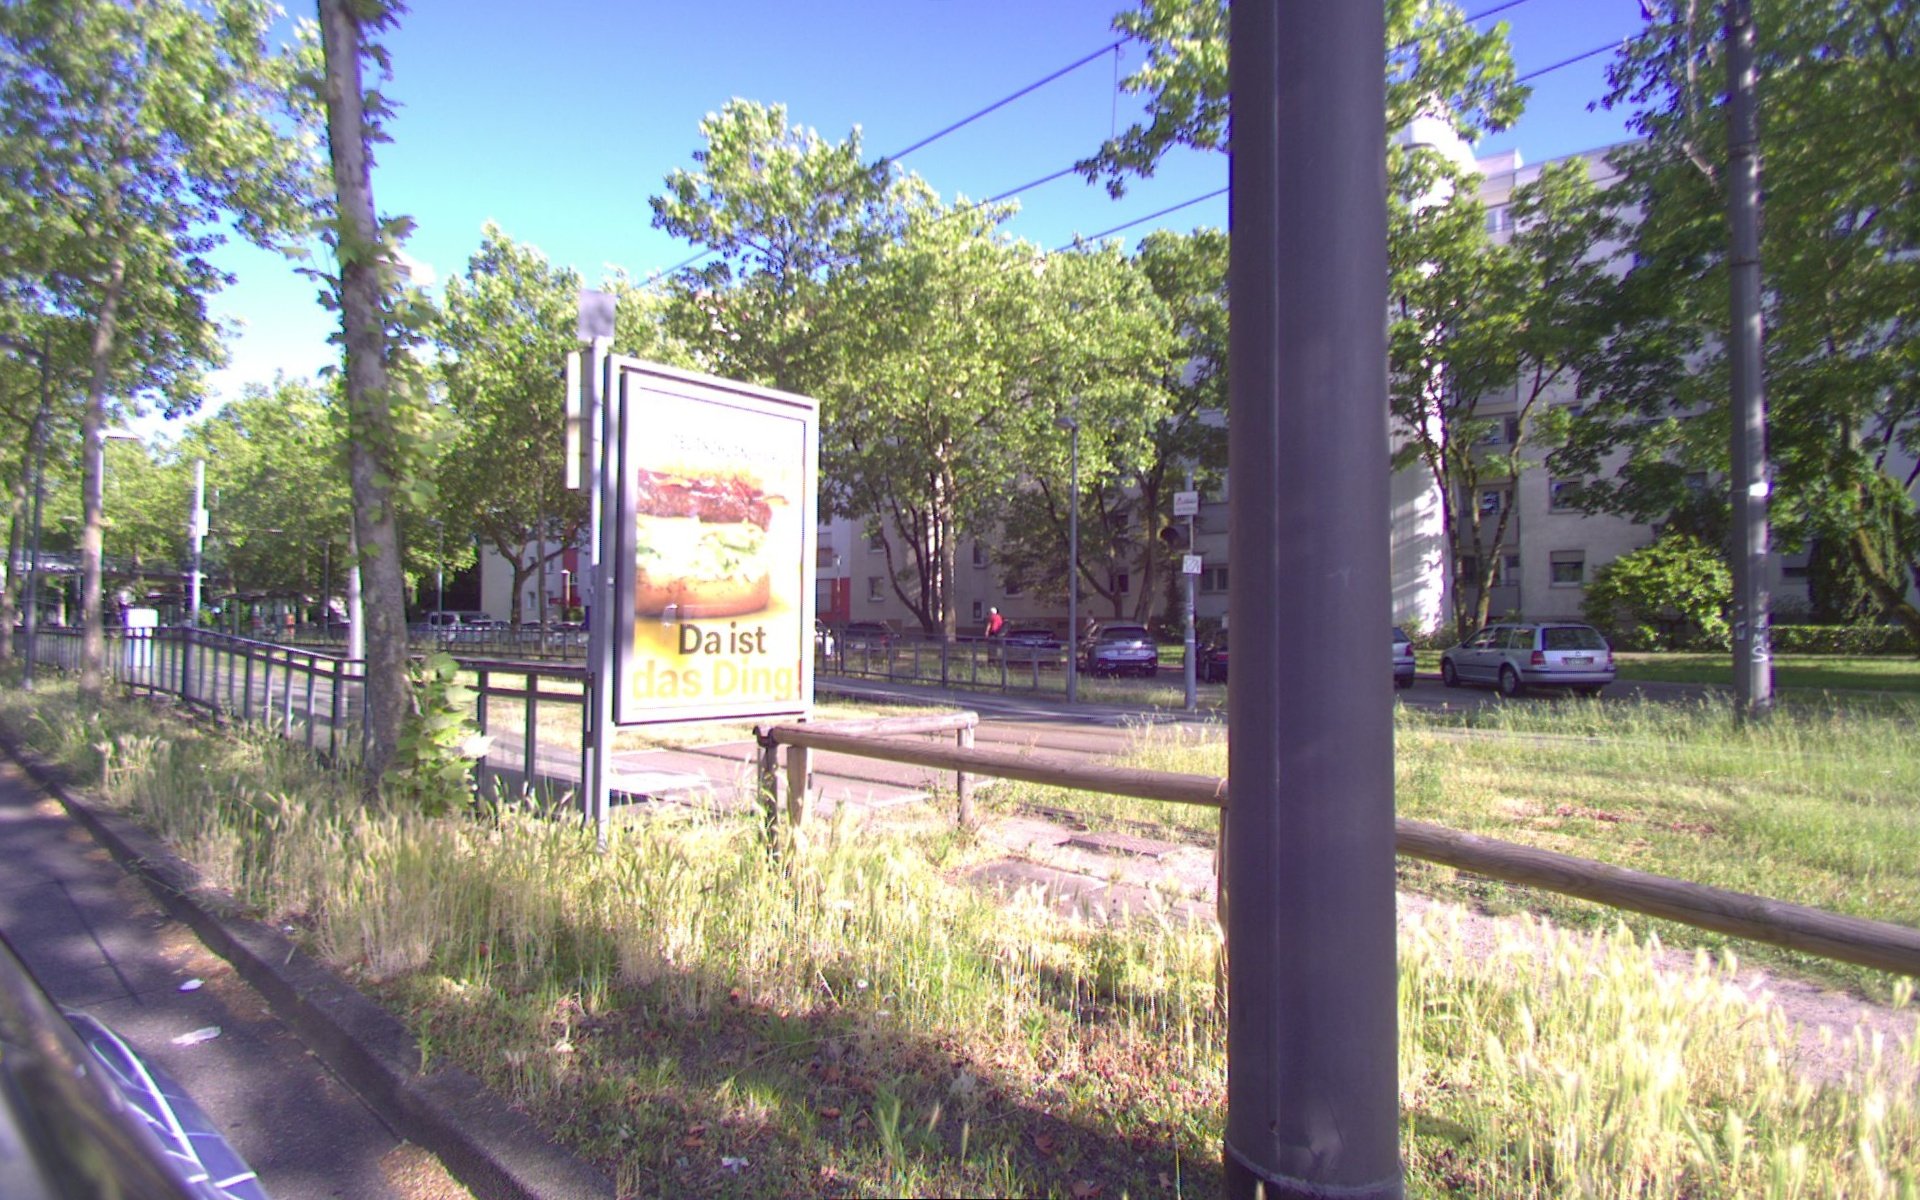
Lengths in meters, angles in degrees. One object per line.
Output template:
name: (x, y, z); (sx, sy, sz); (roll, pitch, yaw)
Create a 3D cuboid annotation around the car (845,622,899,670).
car: (-2.965, 1.524, 34.648); (1.633, 1.522, 3.805); (-1, -1, -2)

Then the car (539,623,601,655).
car: (-19.034, 1.894, 49.538); (1.633, 1.452, 3.805); (-1, -1, -2)

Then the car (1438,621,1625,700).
car: (11.485, 1.159, 20.664); (1.559, 1.413, 3.906); (-1, -1, 0)

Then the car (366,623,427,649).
car: (-33.684, 2.110, 60.600); (1.633, 1.452, 3.805); (-1, -1, -2)

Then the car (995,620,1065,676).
car: (1.995, 1.352, 29.666); (1.633, 1.522, 3.805); (-1, -1, -2)

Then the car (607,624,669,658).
car: (-14.052, 1.763, 44.335); (1.633, 1.366, 3.805); (-1, -1, -2)

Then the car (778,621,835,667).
car: (-5.555, 1.567, 37.017); (1.633, 1.522, 3.805); (-1, -1, -2)

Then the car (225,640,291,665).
car: (-45.526, 3.379, 65.635); (4.621, 1.522, 1.641); (-1, -1, 28)

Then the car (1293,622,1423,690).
car: (9.154, 1.236, 23.590); (1.559, 1.413, 3.638); (-1, -1, 0)

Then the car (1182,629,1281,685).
car: (6.686, 1.376, 25.276); (1.445, 1.234, 3.815); (-1, -1, 0)

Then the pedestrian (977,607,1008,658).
pedestrian: (1.158, 1.143, 35.913); (0.786, 1.745, 0.755); (-1, 0, 39)

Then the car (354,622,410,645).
car: (-37.874, 2.169, 66.376); (1.633, 1.452, 3.805); (-1, -1, -2)

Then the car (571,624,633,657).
car: (-16.615, 1.852, 47.157); (1.633, 1.452, 3.805); (-1, -1, -2)

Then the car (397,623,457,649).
car: (-31.321, 2.080, 59.597); (1.633, 1.452, 3.805); (-1, -1, -2)

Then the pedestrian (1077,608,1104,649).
pedestrian: (5.332, 1.139, 41.352); (0.786, 1.635, 0.755); (-1, 0, 39)

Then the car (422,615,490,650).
car: (-28.442, 1.821, 57.252); (1.814, 1.888, 4.323); (-1, -1, -2)

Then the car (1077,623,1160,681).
car: (4.229, 1.362, 27.518); (1.633, 1.413, 3.803); (-1, -1, 0)

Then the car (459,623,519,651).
car: (-25.860, 1.996, 55.658); (1.633, 1.452, 3.805); (-1, -1, -2)

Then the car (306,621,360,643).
car: (-44.969, 2.284, 72.678); (1.633, 1.452, 3.805); (-1, -1, -2)

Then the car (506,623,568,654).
car: (-21.326, 1.937, 51.182); (1.633, 1.452, 3.805); (-1, -1, -2)

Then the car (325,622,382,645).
car: (-40.828, 2.223, 68.189); (1.633, 1.452, 3.805); (-1, -1, -2)
